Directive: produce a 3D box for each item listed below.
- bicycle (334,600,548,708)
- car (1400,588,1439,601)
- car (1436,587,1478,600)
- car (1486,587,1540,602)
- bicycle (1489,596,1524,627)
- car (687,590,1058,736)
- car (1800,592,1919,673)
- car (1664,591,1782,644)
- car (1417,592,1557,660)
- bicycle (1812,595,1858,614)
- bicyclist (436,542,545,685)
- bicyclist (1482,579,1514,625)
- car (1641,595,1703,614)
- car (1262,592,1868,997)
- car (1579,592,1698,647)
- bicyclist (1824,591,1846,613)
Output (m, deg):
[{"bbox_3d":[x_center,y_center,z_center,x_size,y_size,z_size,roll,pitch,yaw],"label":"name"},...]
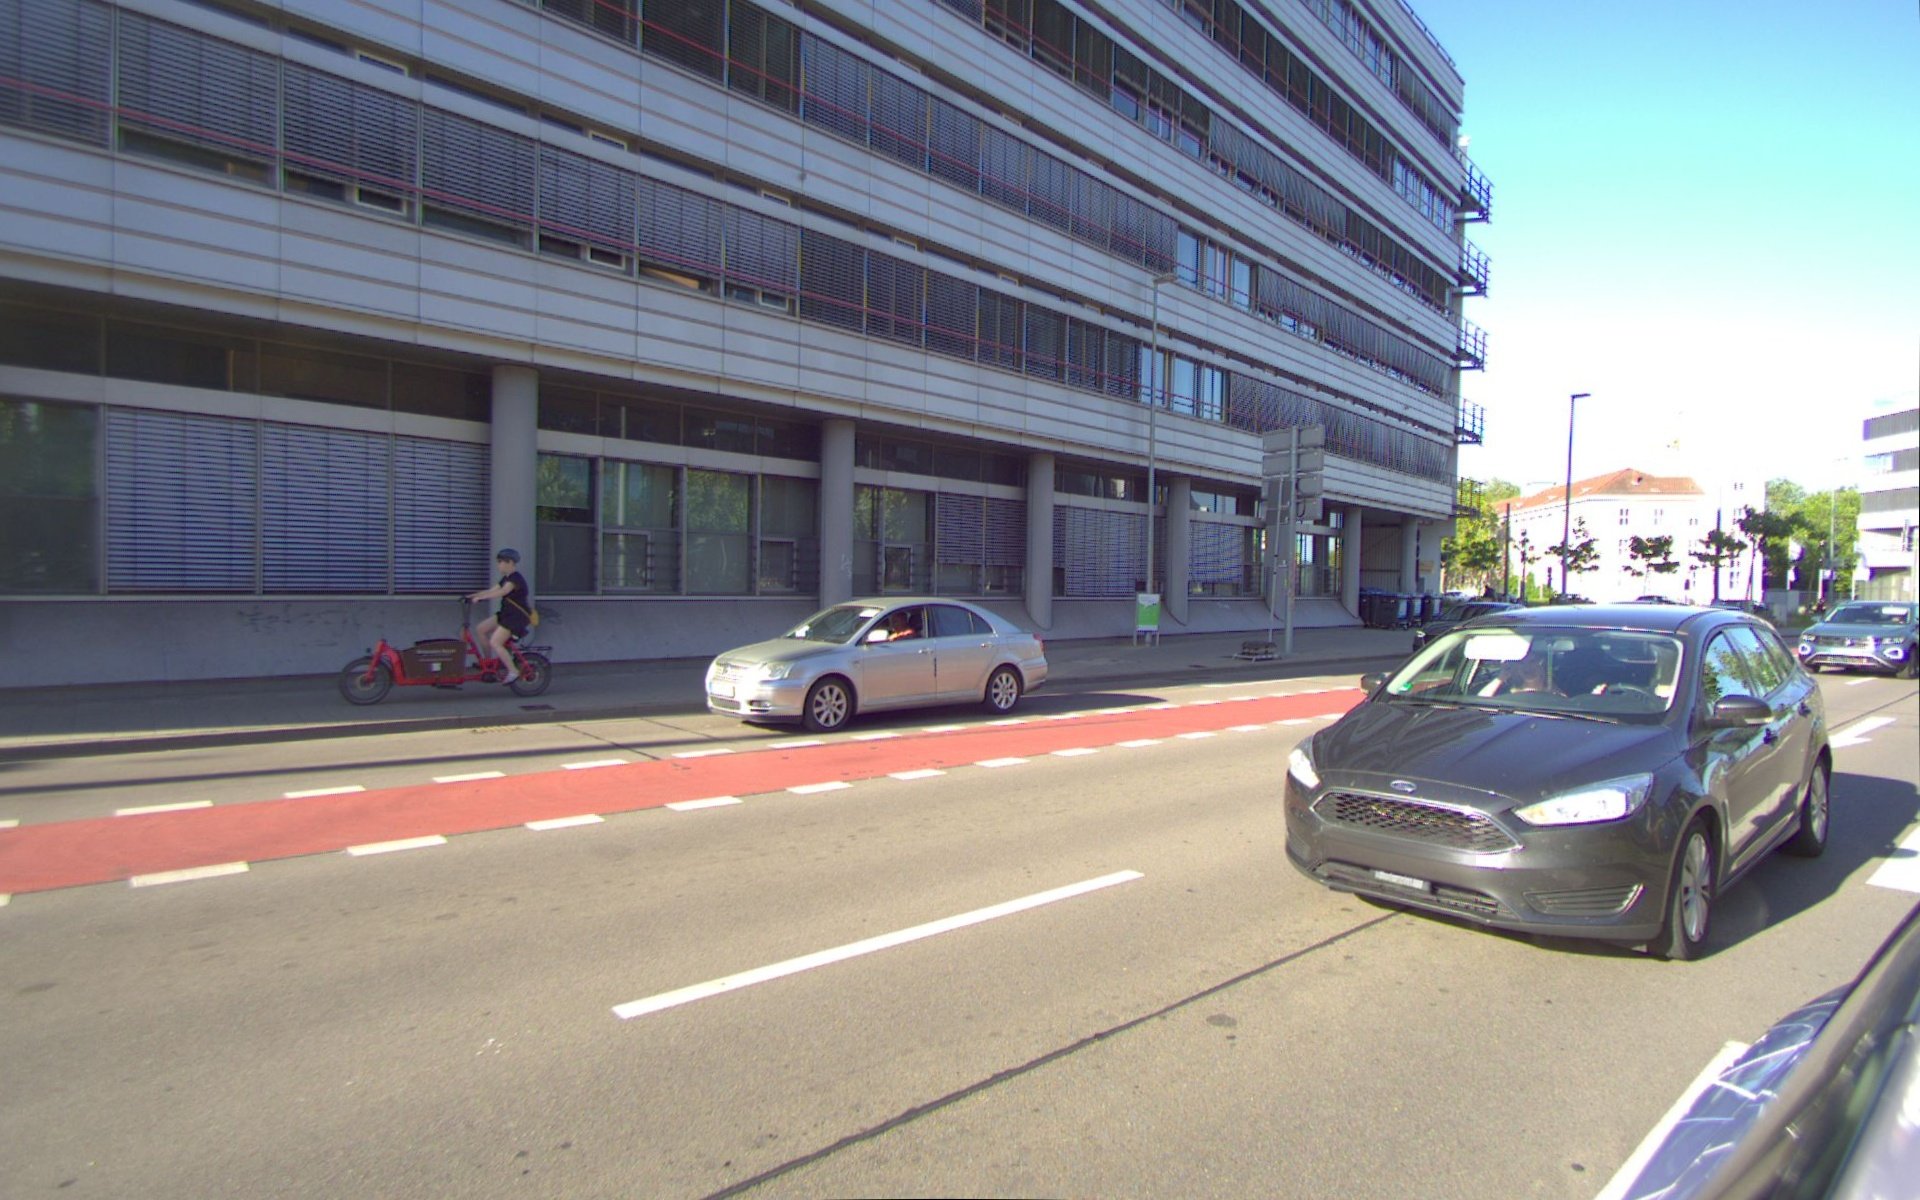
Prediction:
[{"bbox_3d":[-5.971,0.577,11.759,0.499,1.044,2.171,7,7,44],"label":"bicycle"},{"bbox_3d":[52.622,-0.653,116.007,1.894,1.393,4.009,1,1,-14],"label":"car"},{"bbox_3d":[53.882,-0.715,109.771,1.958,1.259,4.009,0,1,-15],"label":"car"},{"bbox_3d":[56.081,-0.572,102.730,1.958,1.440,4.535,0,1,-24],"label":"car"},{"bbox_3d":[20.042,0.402,37.119,1.672,1.070,0.505,-1,4,-40],"label":"bicycle"},{"bbox_3d":[-0.925,0.623,12.474,4.412,1.449,1.753,0,2,-43],"label":"car"},{"bbox_3d":[19.435,0.620,21.181,3.804,1.523,1.752,0,2,-32],"label":"car"},{"bbox_3d":[24.572,0.576,32.555,3.918,1.463,1.443,3,2,-28],"label":"car"},{"bbox_3d":[12.430,0.637,23.784,4.042,1.460,1.711,3,-3,-44],"label":"car"},{"bbox_3d":[64.863,0.289,75.016,0.932,1.328,2.376,0,1,-27],"label":"bicycle"},{"bbox_3d":[-5.607,0.128,12.109,1.027,1.584,0.625,-4,8,-44],"label":"bicyclist"},{"bbox_3d":[19.789,0.067,37.204,0.973,1.638,0.685,0,1,-39],"label":"bicyclist"},{"bbox_3d":[61.898,0.373,88.019,1.958,1.440,4.009,0,1,-21],"label":"car"},{"bbox_3d":[3.574,0.696,5.638,4.080,1.451,1.689,0,1,-40],"label":"car"},{"bbox_3d":[19.629,0.517,29.247,3.927,1.464,1.735,-1,0,-38],"label":"car"},{"bbox_3d":[64.871,0.127,75.035,0.862,1.627,1.009,0,1,-27],"label":"bicyclist"}]
